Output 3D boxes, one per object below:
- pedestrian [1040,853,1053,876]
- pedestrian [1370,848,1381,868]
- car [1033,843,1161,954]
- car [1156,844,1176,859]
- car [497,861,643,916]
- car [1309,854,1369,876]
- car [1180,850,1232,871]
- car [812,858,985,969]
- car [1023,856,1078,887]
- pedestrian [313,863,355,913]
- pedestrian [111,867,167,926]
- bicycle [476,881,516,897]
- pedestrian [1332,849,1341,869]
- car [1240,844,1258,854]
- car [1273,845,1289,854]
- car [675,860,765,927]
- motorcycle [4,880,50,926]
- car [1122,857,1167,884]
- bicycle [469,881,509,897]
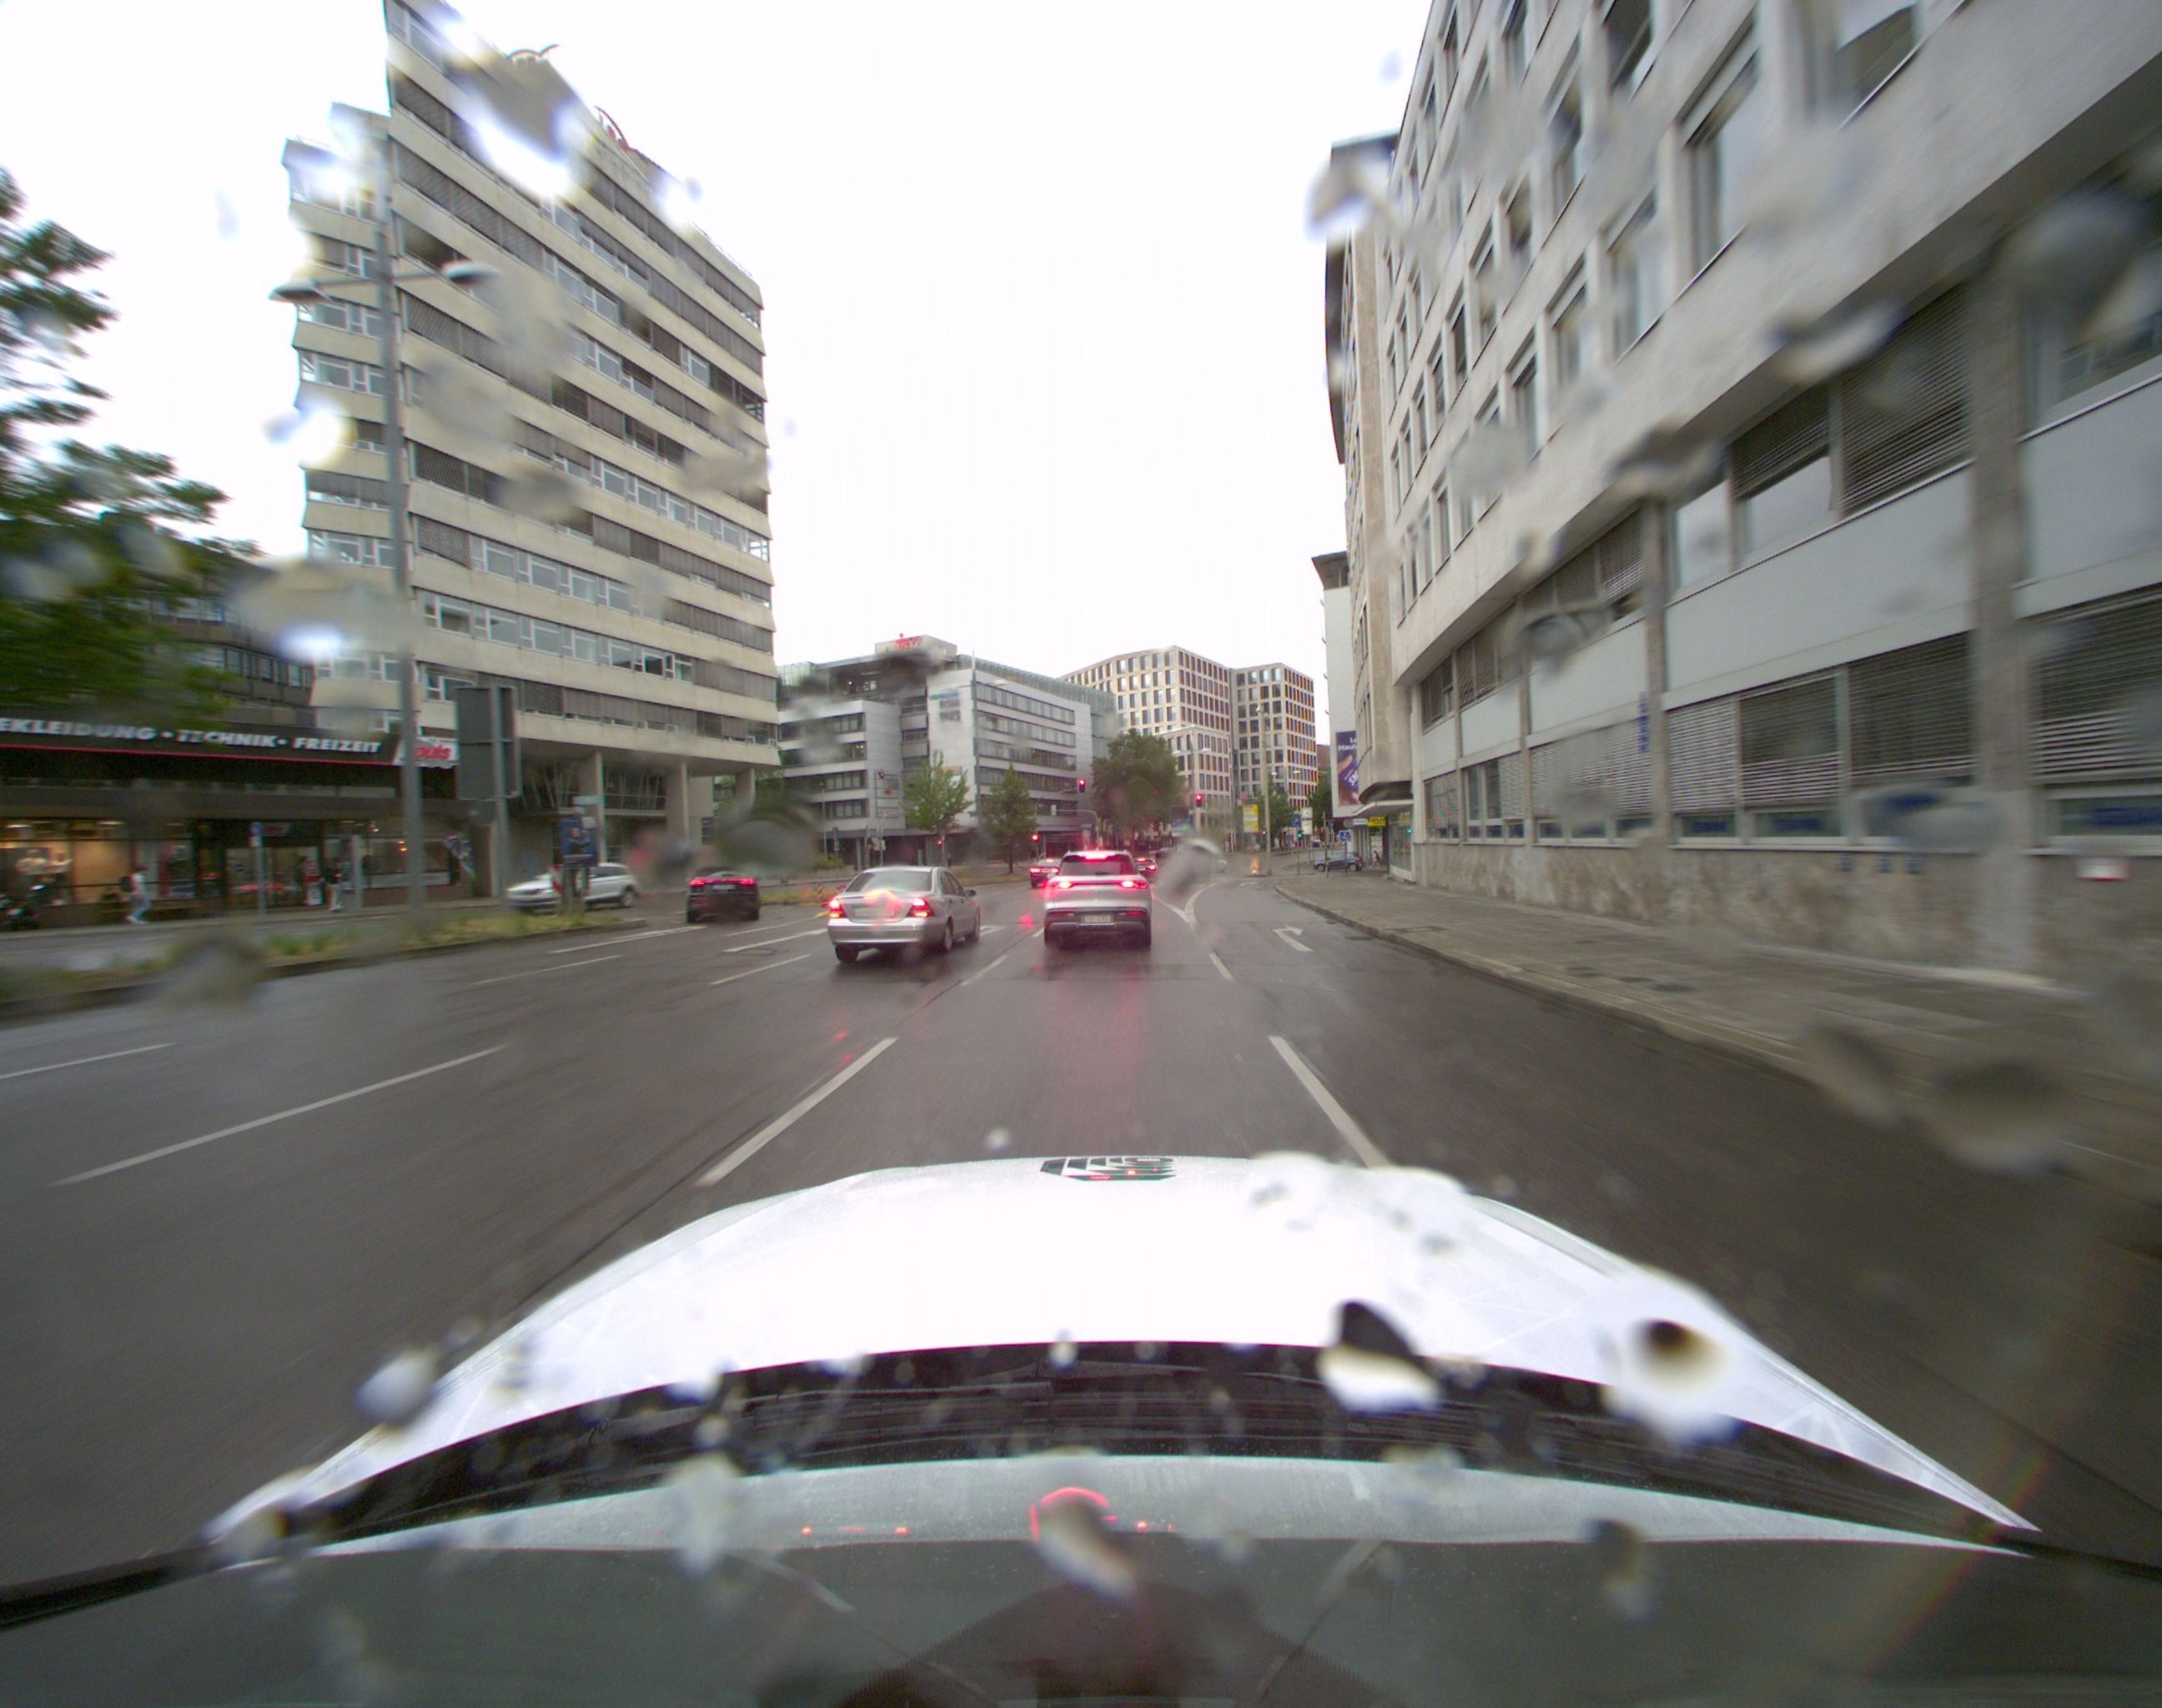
[{"bbox_3d":[-2.624,0.793,61.448,0.919,1.738,0.729,-1,0,-1],"label":"pedestrian"},{"bbox_3d":[24.680,0.364,68.252,0.759,1.678,0.734,-1,0,27],"label":"pedestrian"},{"bbox_3d":[0.288,0.704,15.079,1.987,1.709,4.483,-1,0,1],"label":"car"},{"bbox_3d":[12.907,-0.381,123.669,1.722,2.161,4.518,0,0,22],"label":"car"},{"bbox_3d":[-17.557,1.111,28.285,1.726,1.728,4.506,0,0,10],"label":"car"},{"bbox_3d":[21.082,0.861,66.554,4.300,1.765,2.066,0,0,31],"label":"car"},{"bbox_3d":[10.836,0.534,70.969,2.008,1.750,4.483,-1,0,-34],"label":"car"},{"bbox_3d":[-2.791,0.841,13.409,1.675,1.486,4.199,-1,0,3],"label":"car"},{"bbox_3d":[-1.552,0.896,43.004,1.942,1.530,4.013,-1,0,11],"label":"car"},{"bbox_3d":[-28.076,1.255,30.621,0.721,1.832,0.929,-1,-1,20],"label":"pedestrian"},{"bbox_3d":[-30.246,1.366,26.159,0.810,1.832,0.929,-2,0,20],"label":"pedestrian"},{"bbox_3d":[-31.802,1.903,44.278,0.450,0.812,1.783,-1,-1,22],"label":"bicycle"},{"bbox_3d":[21.912,0.441,69.848,0.721,1.669,0.694,-1,-1,20],"label":"pedestrian"},{"bbox_3d":[31.316,-0.916,151.677,1.974,1.705,4.336,-1,2,31],"label":"car"},{"bbox_3d":[41.732,-0.952,169.829,1.974,1.705,4.336,-1,2,31],"label":"car"},{"bbox_3d":[-9.685,0.980,21.990,2.002,1.544,4.448,-1,0,-23],"label":"car"},{"bbox_3d":[-33.244,1.511,25.679,2.855,1.374,0.809,-1,-1,36],"label":"motorcycle"},{"bbox_3d":[3.912,0.946,49.434,1.940,1.530,4.016,-1,0,15],"label":"car"},{"bbox_3d":[-32.345,1.911,44.497,0.450,0.812,1.783,-1,-1,22],"label":"bicycle"}]
